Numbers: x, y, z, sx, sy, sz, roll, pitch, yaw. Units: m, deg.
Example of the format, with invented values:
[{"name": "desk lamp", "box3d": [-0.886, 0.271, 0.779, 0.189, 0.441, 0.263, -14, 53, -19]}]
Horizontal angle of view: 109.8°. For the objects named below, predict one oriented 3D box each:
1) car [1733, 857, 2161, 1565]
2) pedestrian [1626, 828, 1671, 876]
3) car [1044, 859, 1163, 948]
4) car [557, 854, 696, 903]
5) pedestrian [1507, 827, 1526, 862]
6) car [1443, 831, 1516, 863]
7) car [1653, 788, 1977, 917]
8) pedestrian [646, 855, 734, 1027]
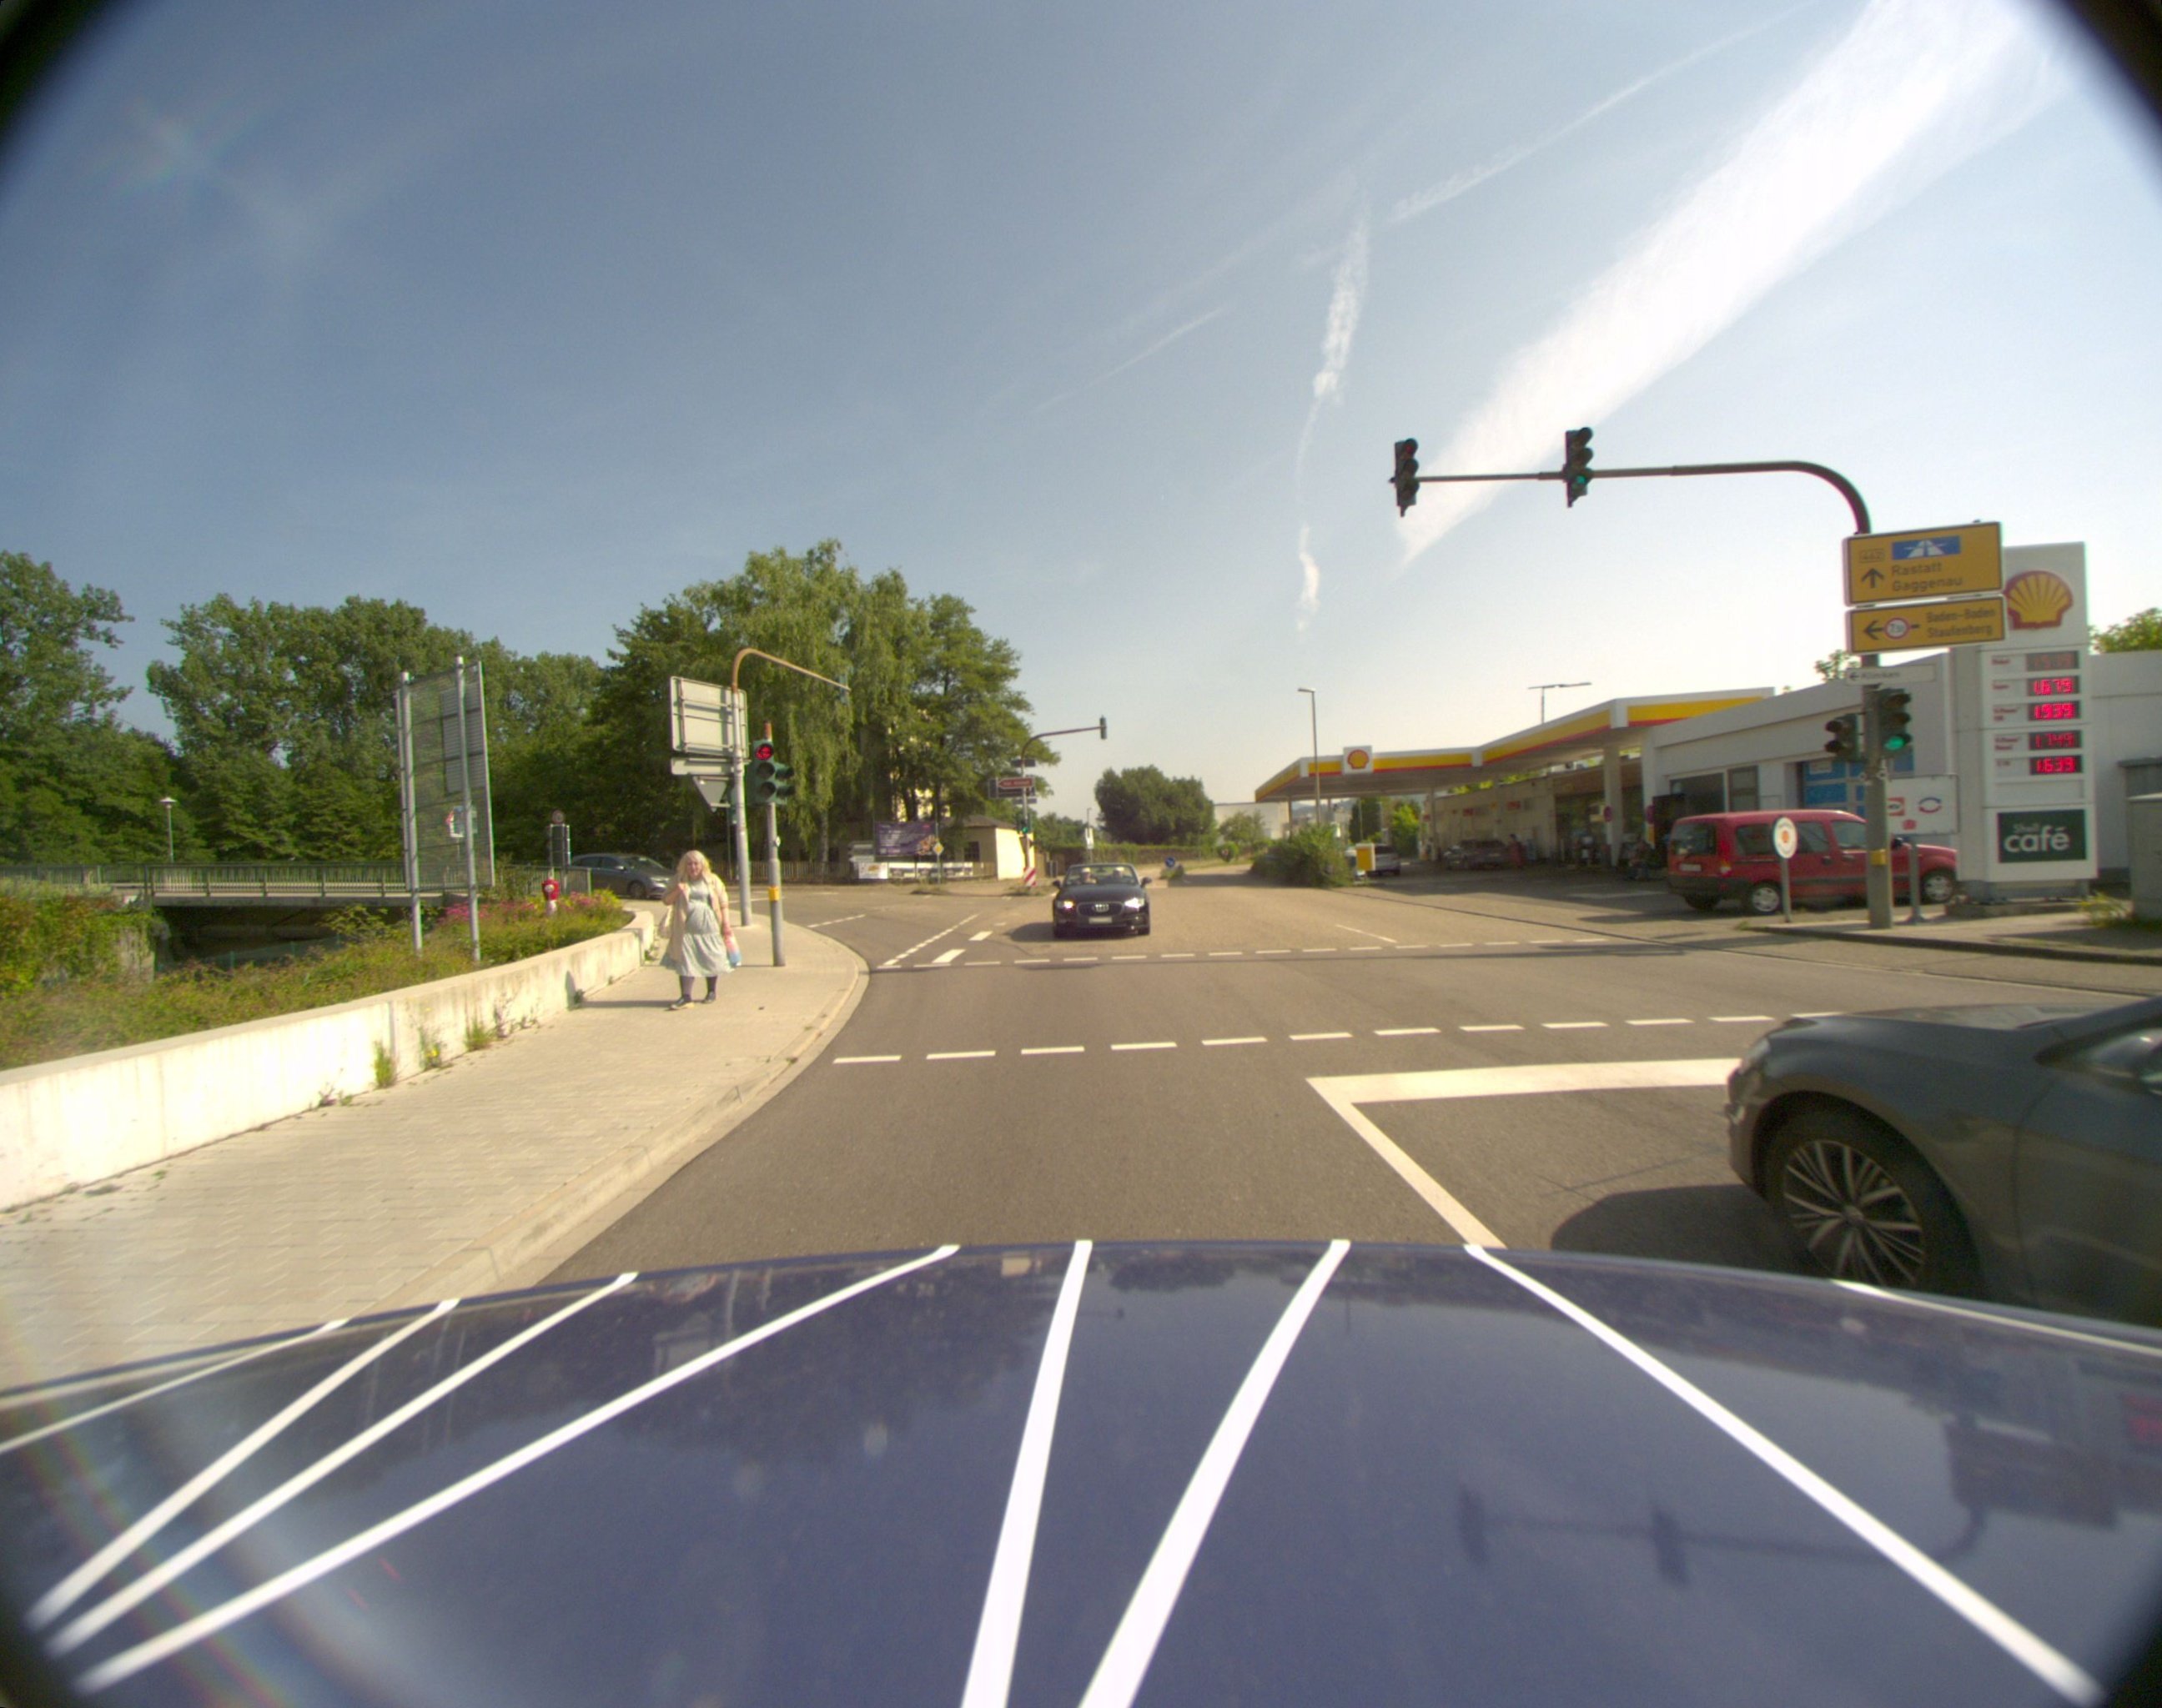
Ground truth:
[{"name": "car", "box3d": [3.168, 0.782, 0.575, 1.776, 1.464, 4.219, -2, 1, 1]}, {"name": "pedestrian", "box3d": [15.922, -0.061, 21.334, 0.616, 1.288, 0.816, -3, 1, 6]}, {"name": "car", "box3d": [0.481, 0.805, 14.304, 1.868, 1.323, 4.233, -2, 0, 3]}, {"name": "car", "box3d": [-15.353, 0.783, 25.694, 4.076, 1.509, 1.669, 0, 1, 15]}, {"name": "pedestrian", "box3d": [19.536, -0.410, 34.082, 0.559, 1.538, 0.535, -2, 1, 7]}, {"name": "car", "box3d": [18.555, -0.333, 35.582, 1.631, 1.403, 4.229, -2, 1, 8]}, {"name": "car", "box3d": [12.774, -0.011, 13.452, 3.783, 1.785, 1.702, -5, 0, 6]}, {"name": "pedestrian", "box3d": [-3.998, 0.850, 7.809, 0.713, 1.661, 0.592, -2, 1, -26]}]
